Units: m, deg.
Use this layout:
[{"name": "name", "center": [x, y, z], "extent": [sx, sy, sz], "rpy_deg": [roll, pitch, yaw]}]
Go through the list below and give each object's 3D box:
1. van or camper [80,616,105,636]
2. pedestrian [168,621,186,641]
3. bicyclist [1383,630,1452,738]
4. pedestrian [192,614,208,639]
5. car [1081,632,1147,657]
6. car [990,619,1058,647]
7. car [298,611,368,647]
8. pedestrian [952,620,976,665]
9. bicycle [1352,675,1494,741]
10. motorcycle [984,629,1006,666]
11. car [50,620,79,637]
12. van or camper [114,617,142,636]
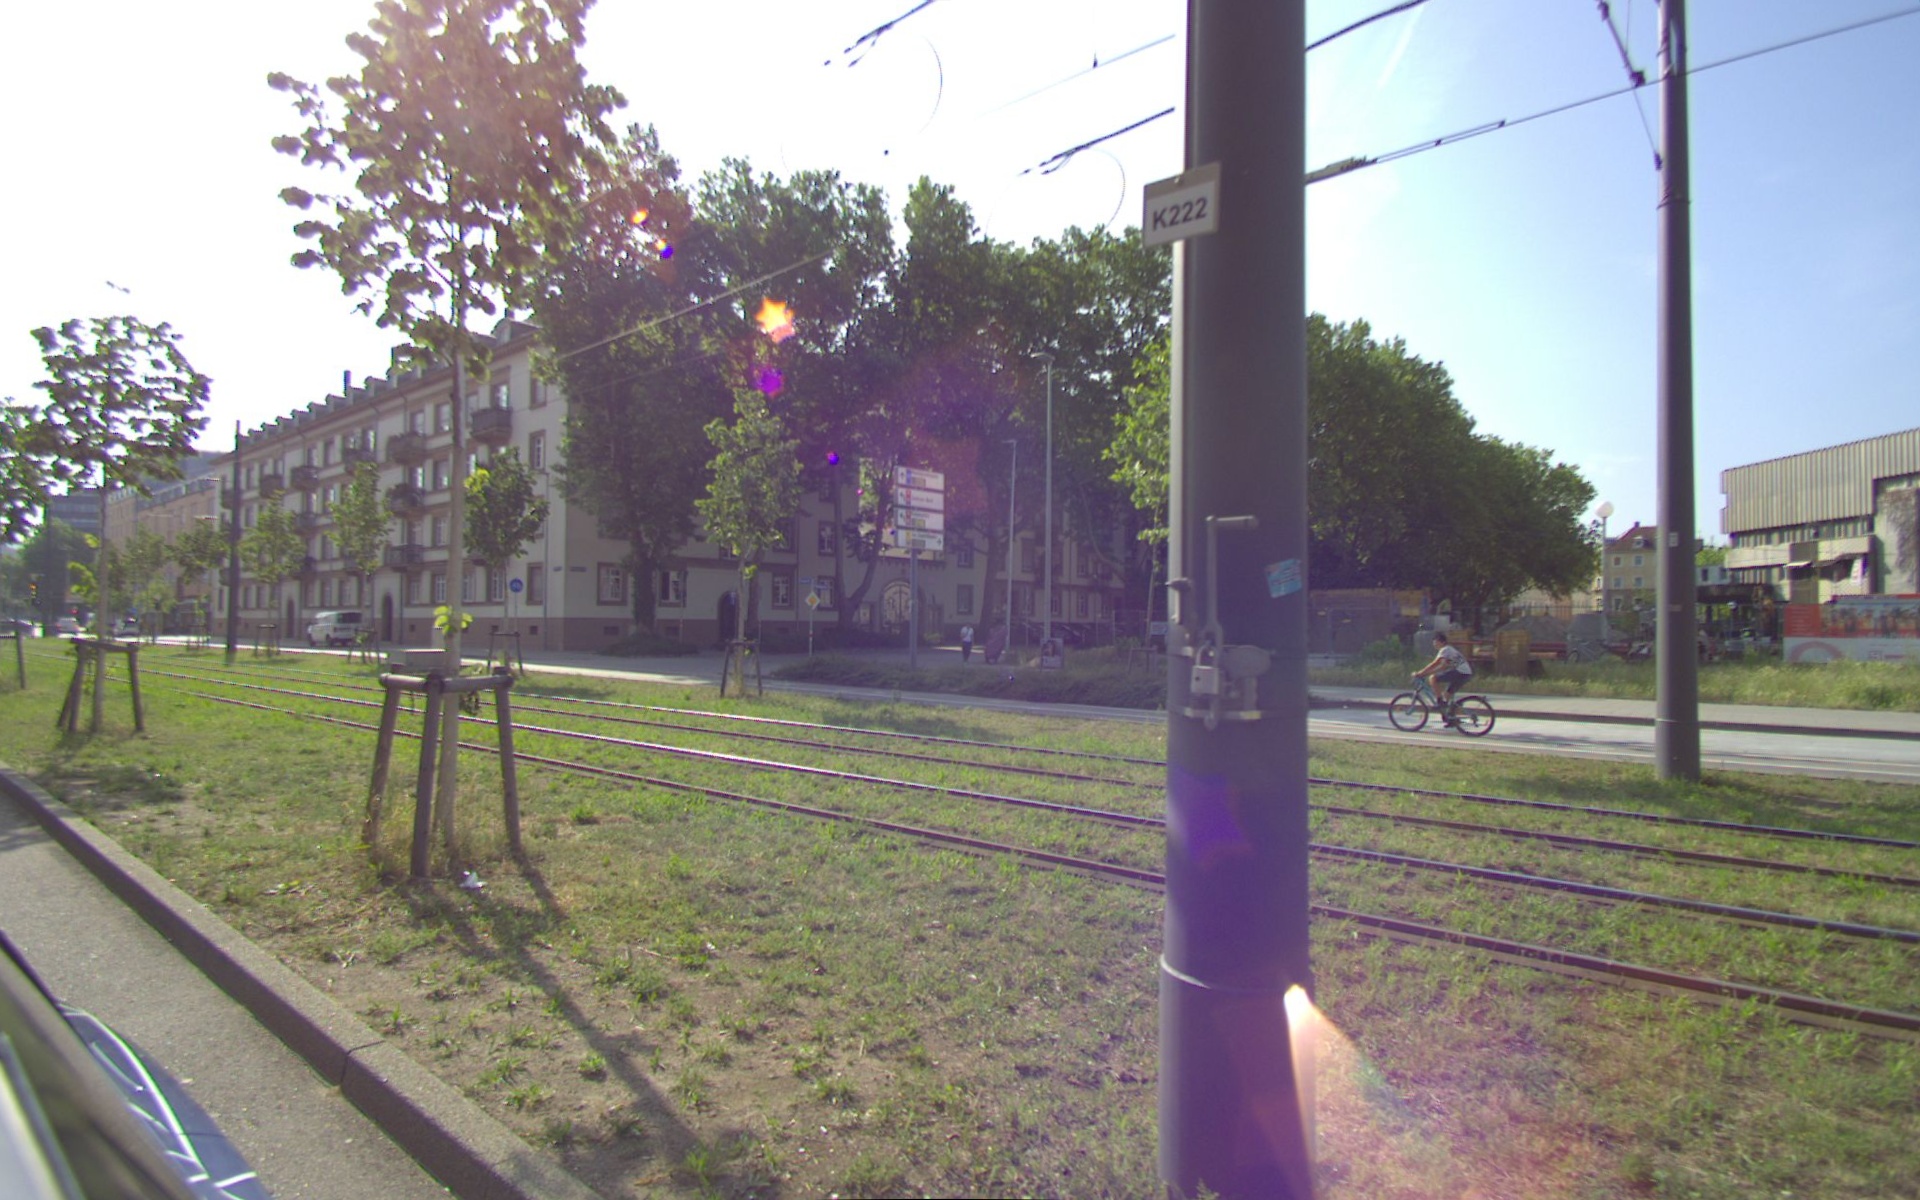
[{"name": "van or camper", "center": [-125.486, 3.805, 146.361], "extent": [5.350, 2.823, 1.973], "rpy_deg": [-1, -3, 41]}, {"name": "pedestrian", "center": [-75.131, 2.981, 97.133], "extent": [0.855, 1.882, 1.067], "rpy_deg": [0, -2, 13]}, {"name": "bicyclist", "center": [7.729, 1.396, 17.105], "extent": [0.918, 1.749, 0.640], "rpy_deg": [-1, -4, 41]}, {"name": "pedestrian", "center": [-63.471, 2.227, 84.524], "extent": [1.156, 2.084, 0.833], "rpy_deg": [-1, -2, 41]}, {"name": "car", "center": [8.874, 2.527, 58.143], "extent": [1.999, 1.386, 3.946], "rpy_deg": [-1, -2, 40]}, {"name": "car", "center": [4.073, 2.107, 65.045], "extent": [3.997, 1.763, 1.973], "rpy_deg": [-1, -2, 40]}, {"name": "car", "center": [-35.401, 1.640, 57.091], "extent": [5.150, 1.932, 1.973], "rpy_deg": [-1, -1, 41]}, {"name": "pedestrian", "center": [0.155, 1.598, 38.204], "extent": [0.673, 1.690, 0.731], "rpy_deg": [-1, -2, 25]}, {"name": "bicycle", "center": [7.775, 1.785, 17.053], "extent": [2.077, 0.968, 0.655], "rpy_deg": [-1, -3, 41]}, {"name": "motorcycle", "center": [1.363, 1.820, 38.907], "extent": [0.807, 1.379, 2.294], "rpy_deg": [0, -2, 3]}, {"name": "car", "center": [-103.371, 3.279, 116.805], "extent": [5.045, 1.909, 1.972], "rpy_deg": [-1, -3, 42]}, {"name": "van or camper", "center": [-90.851, 2.883, 110.535], "extent": [4.002, 1.983, 1.908], "rpy_deg": [-2, -3, 45]}]
